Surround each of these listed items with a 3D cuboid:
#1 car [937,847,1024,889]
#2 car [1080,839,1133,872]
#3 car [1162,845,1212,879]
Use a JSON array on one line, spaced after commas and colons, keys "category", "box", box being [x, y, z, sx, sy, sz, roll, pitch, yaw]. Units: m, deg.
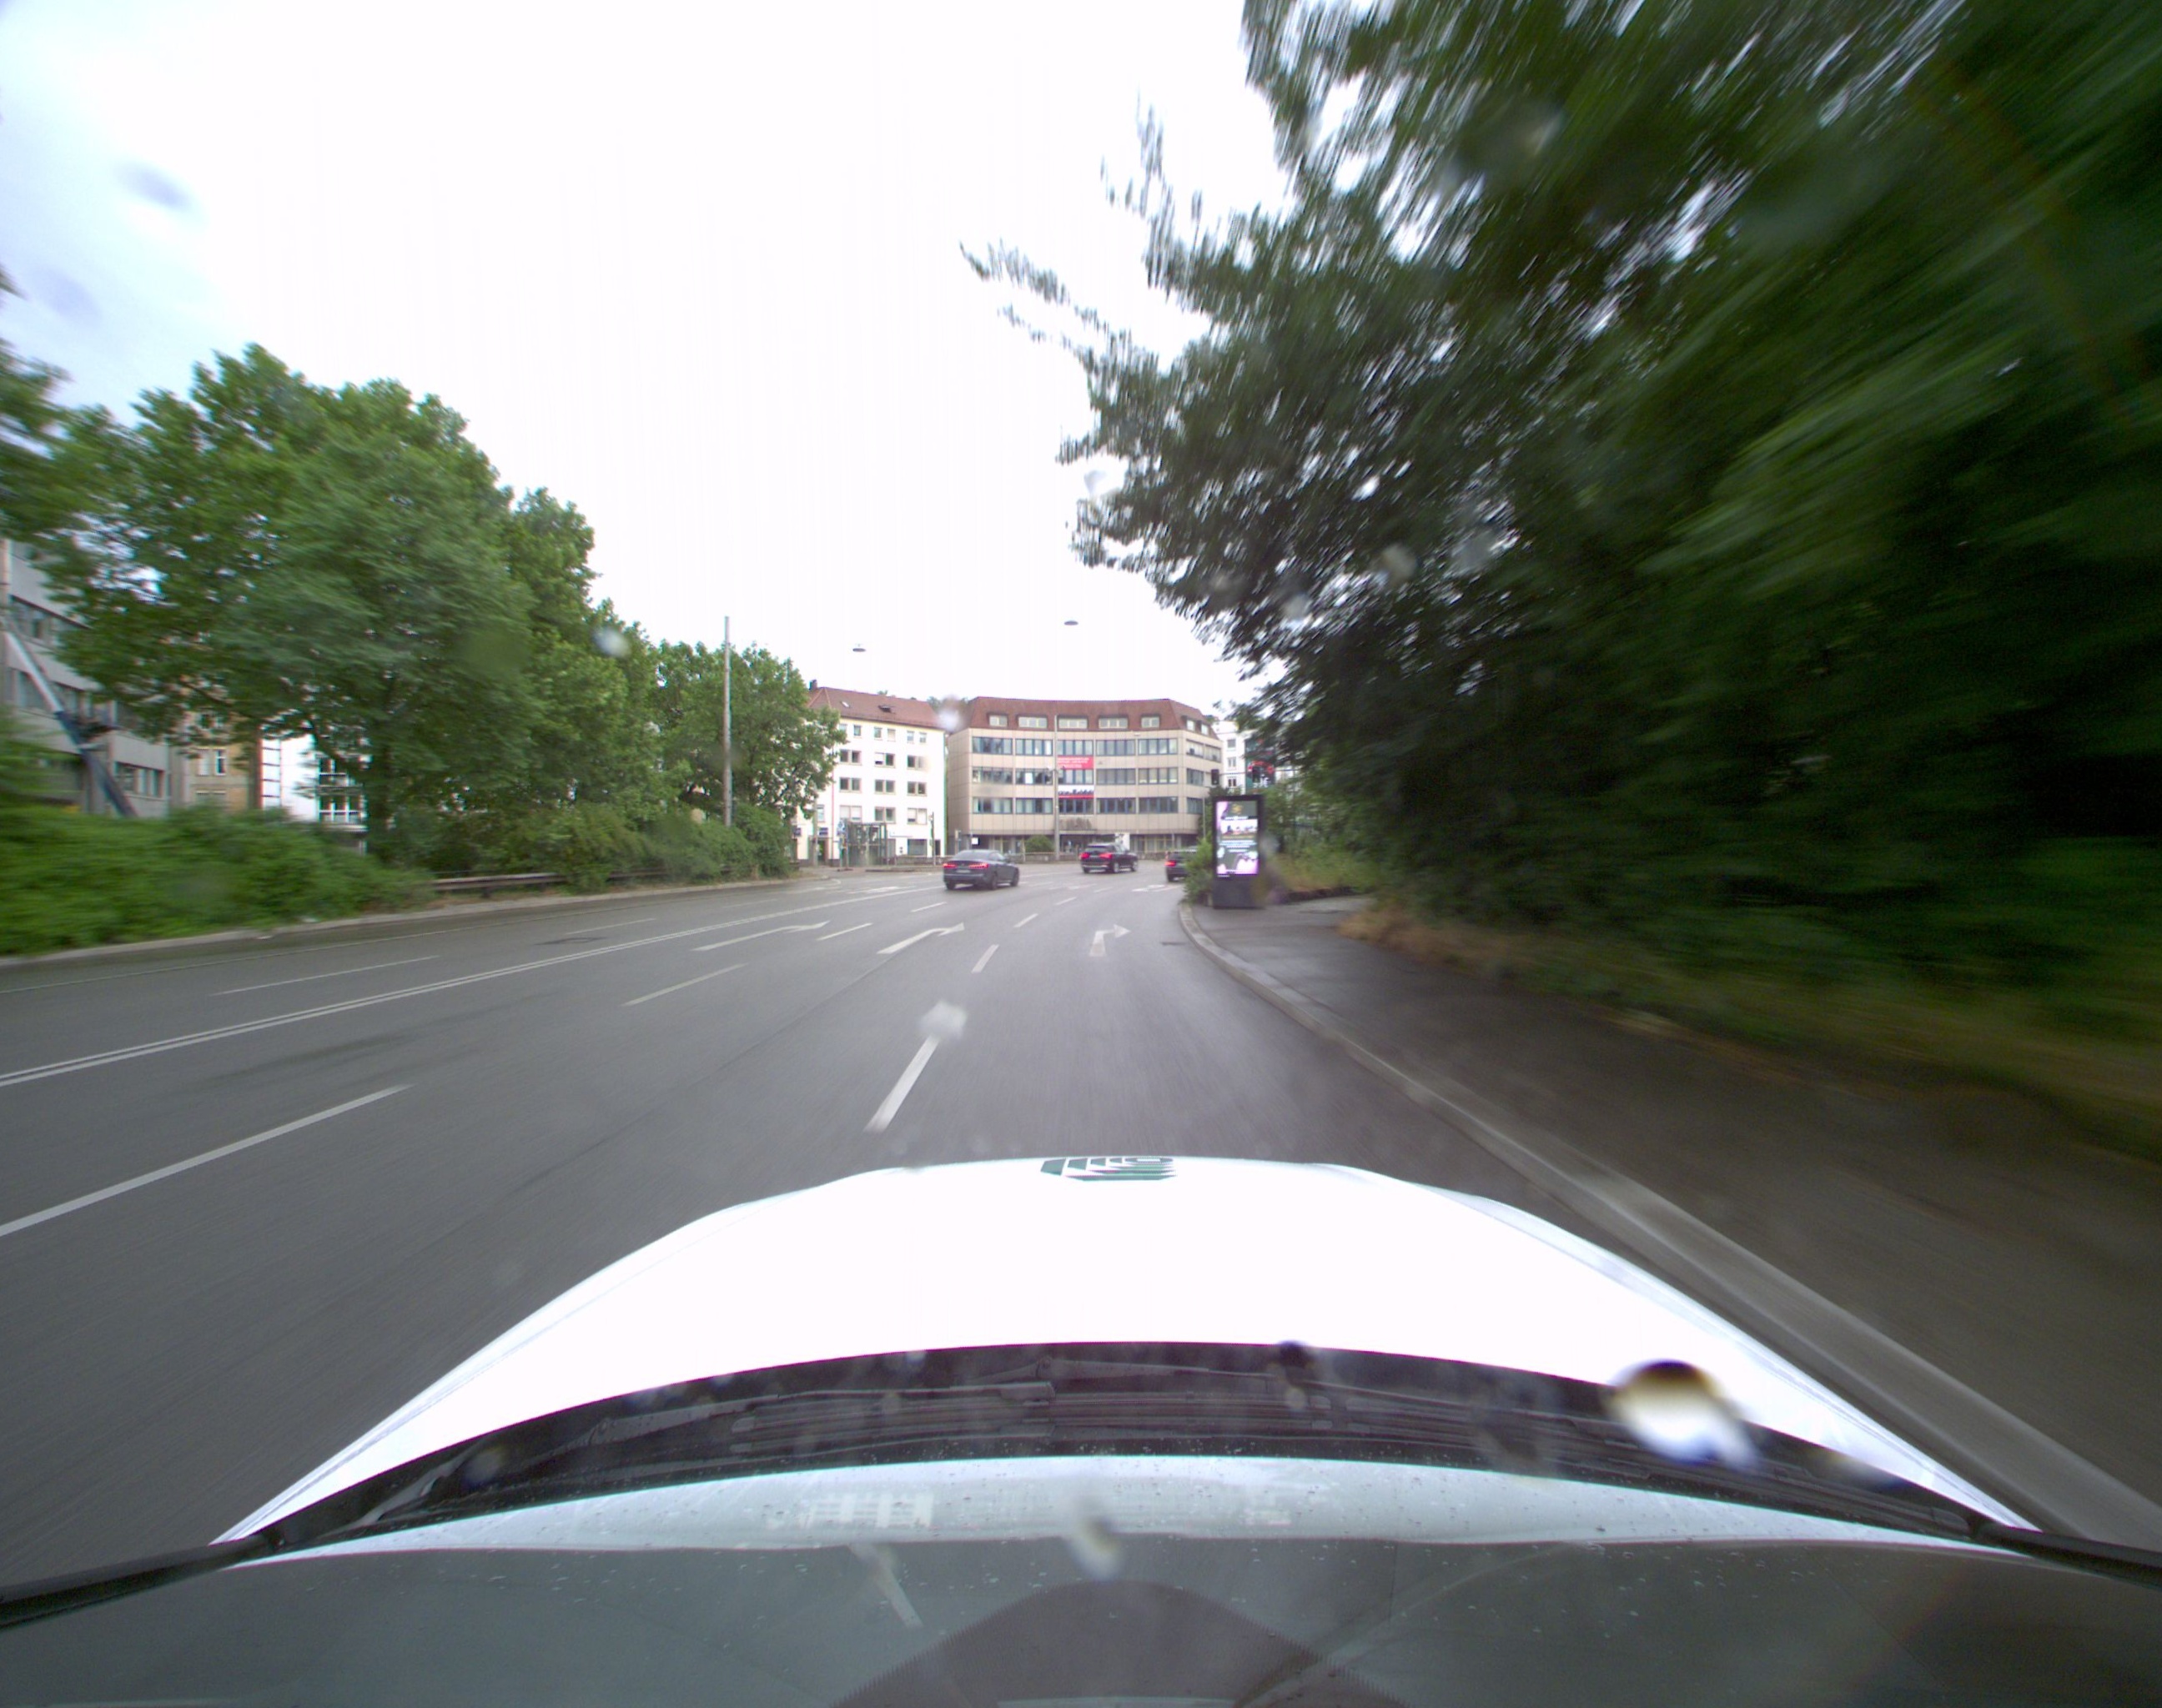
[{"category": "car", "box": [-3.634, 0.512, 30.300, 1.778, 1.426, 4.399, -1, -1, 13]}, {"category": "car", "box": [1.452, 0.084, 44.234, 1.885, 1.693, 4.017, -1, -1, 16]}, {"category": "car", "box": [4.845, 0.356, 36.844, 1.946, 1.426, 4.137, -1, -1, 11]}]
